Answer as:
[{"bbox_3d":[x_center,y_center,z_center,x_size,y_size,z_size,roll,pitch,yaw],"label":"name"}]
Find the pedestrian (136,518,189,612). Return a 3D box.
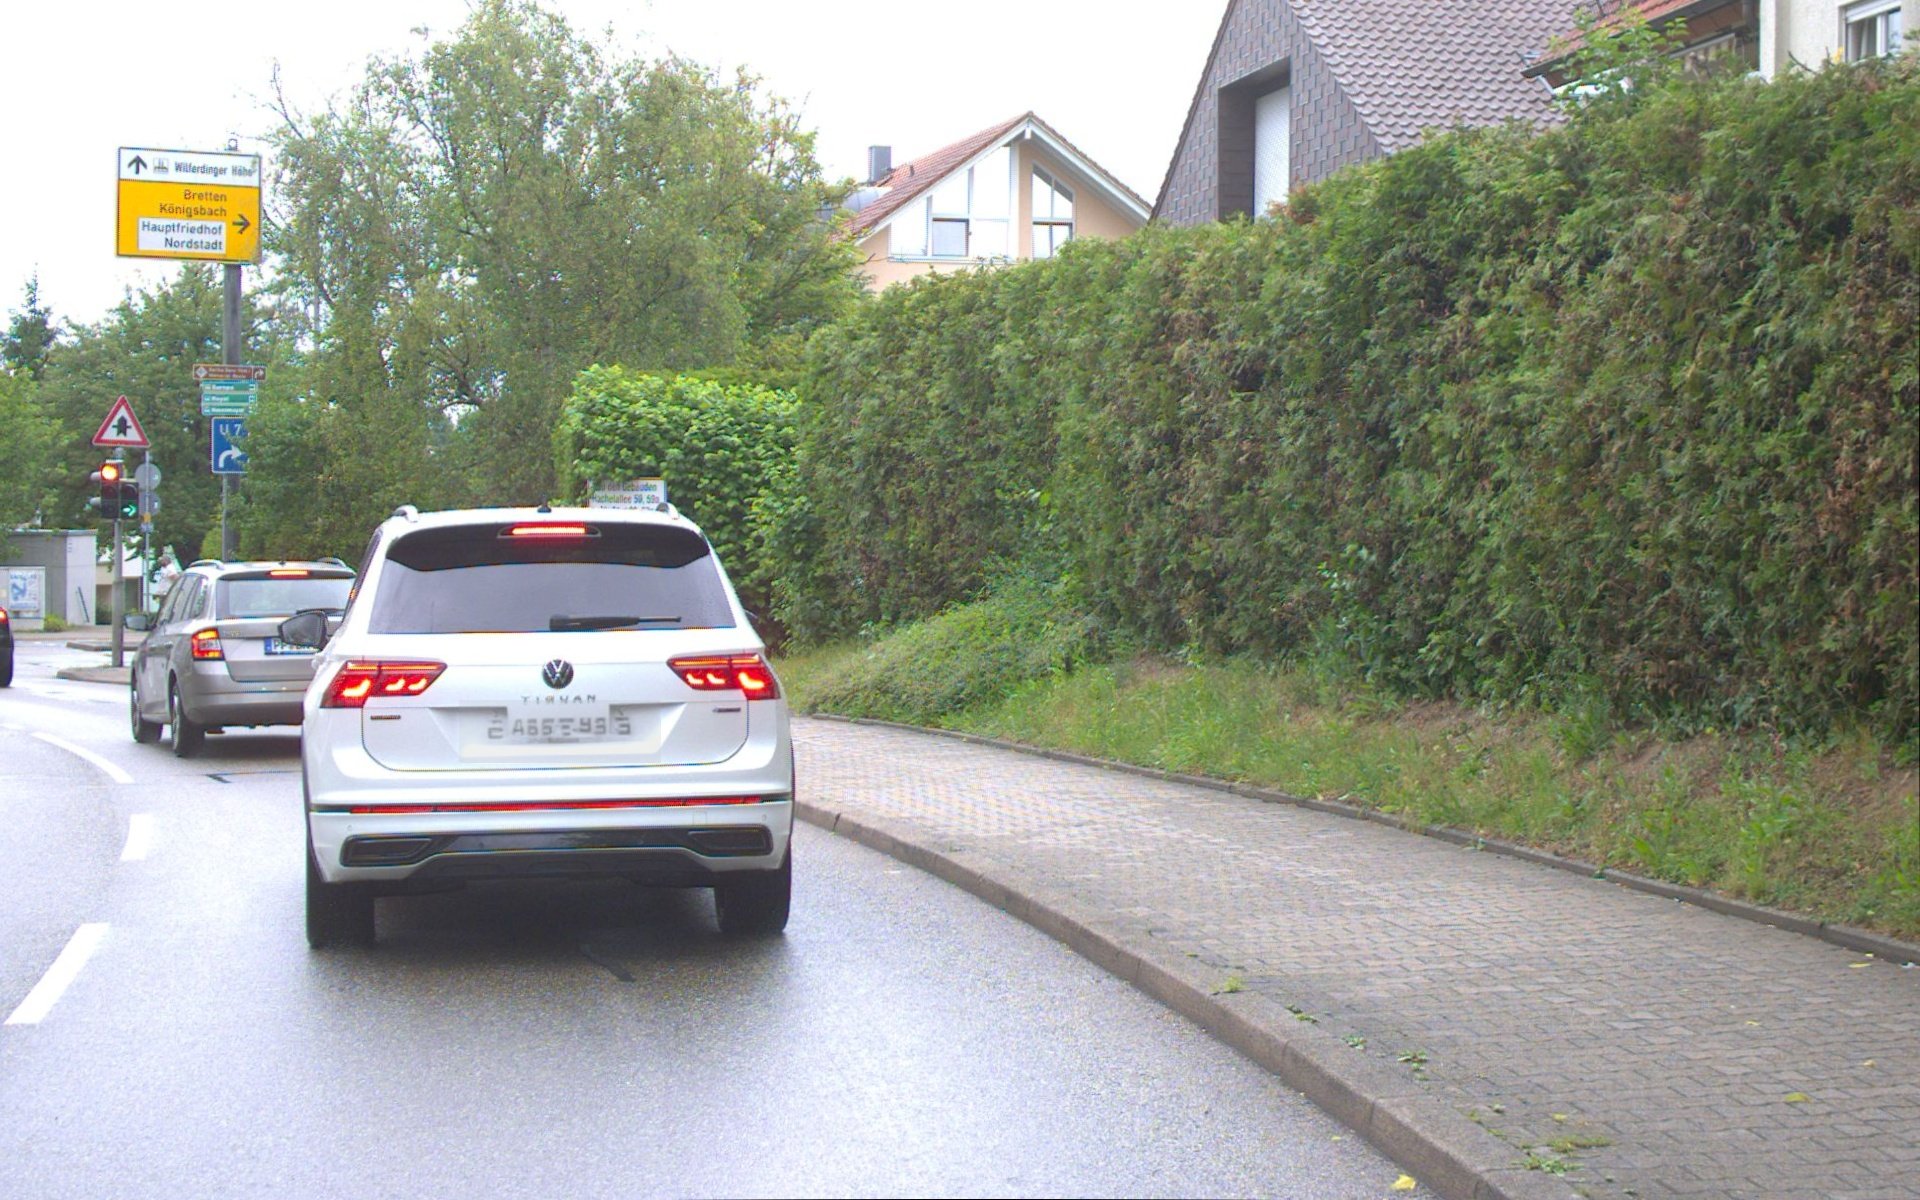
[{"bbox_3d":[-17.601,-0.780,75.871,0.799,2.006,0.850,-5,5,-32],"label":"pedestrian"}]

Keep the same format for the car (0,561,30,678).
[{"bbox_3d":[-13.122,0.235,43.558,1.850,1.424,4.001,-1,1,-26],"label":"car"}]

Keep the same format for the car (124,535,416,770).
[{"bbox_3d":[-5.476,0.360,26.936,1.764,1.504,4.002,2,2,-18],"label":"car"}]

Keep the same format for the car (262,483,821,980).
[{"bbox_3d":[-1.697,0.419,14.092,1.920,1.716,4.266,0,1,-7],"label":"car"}]
